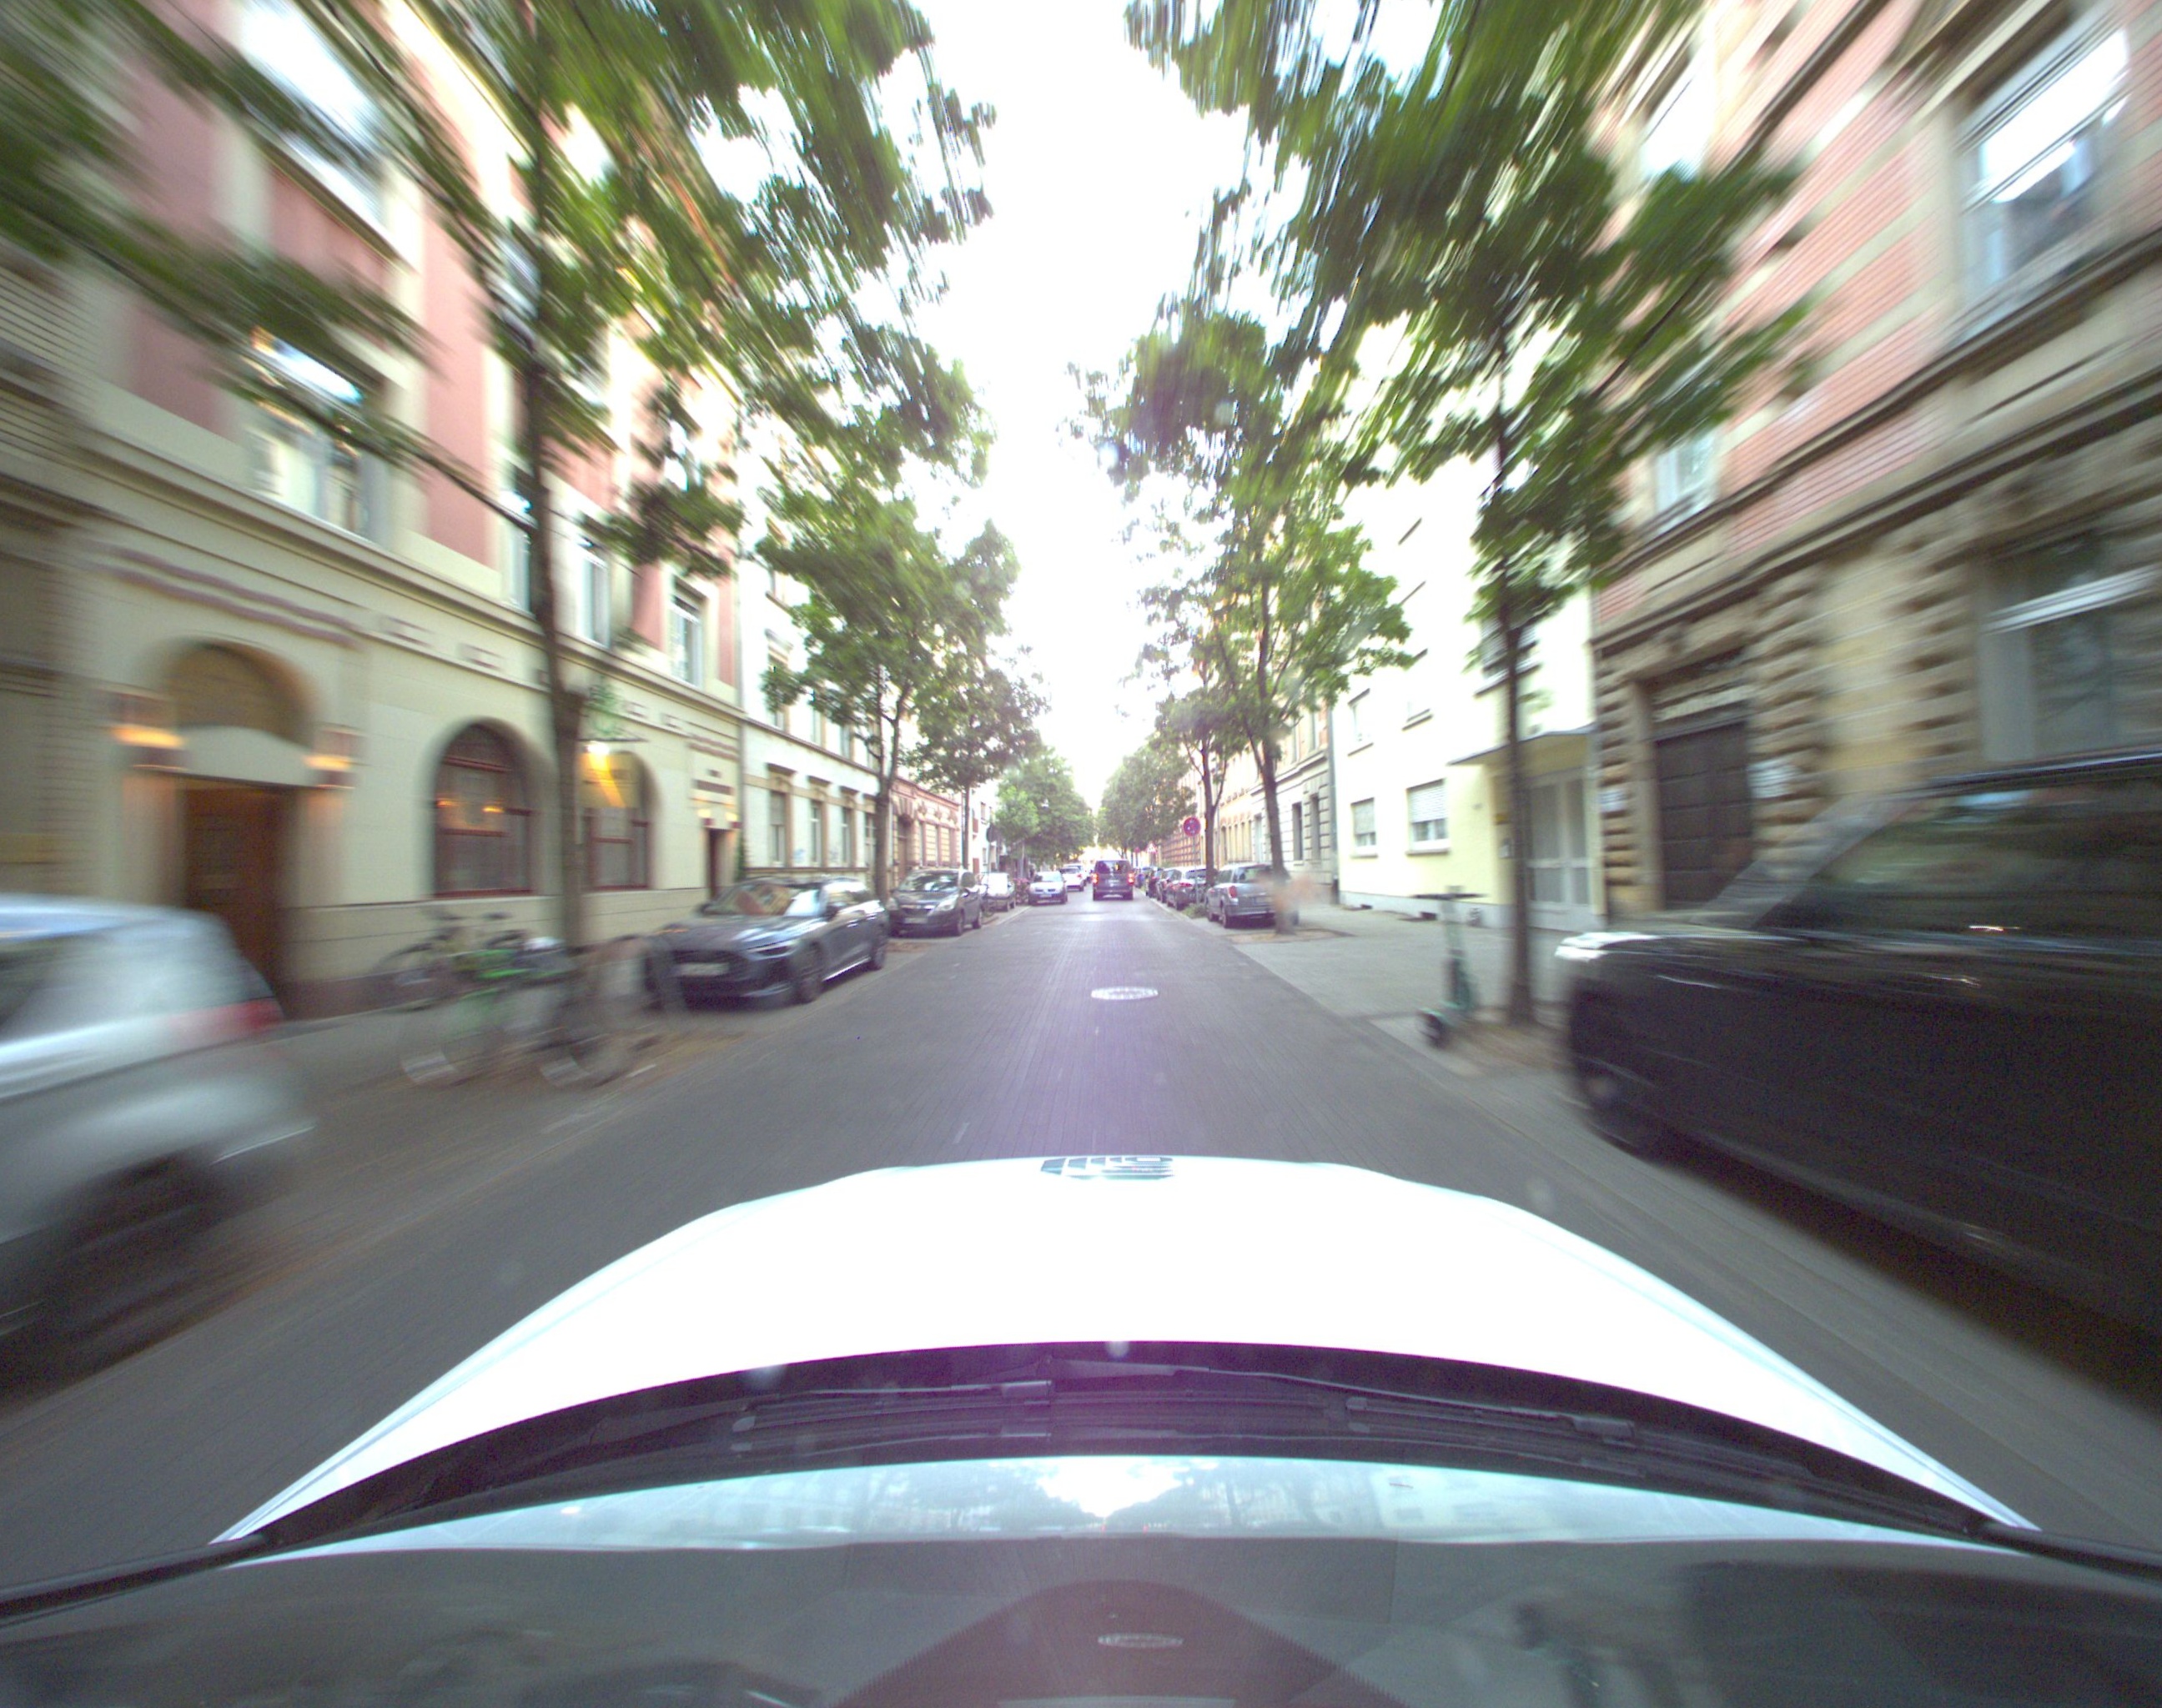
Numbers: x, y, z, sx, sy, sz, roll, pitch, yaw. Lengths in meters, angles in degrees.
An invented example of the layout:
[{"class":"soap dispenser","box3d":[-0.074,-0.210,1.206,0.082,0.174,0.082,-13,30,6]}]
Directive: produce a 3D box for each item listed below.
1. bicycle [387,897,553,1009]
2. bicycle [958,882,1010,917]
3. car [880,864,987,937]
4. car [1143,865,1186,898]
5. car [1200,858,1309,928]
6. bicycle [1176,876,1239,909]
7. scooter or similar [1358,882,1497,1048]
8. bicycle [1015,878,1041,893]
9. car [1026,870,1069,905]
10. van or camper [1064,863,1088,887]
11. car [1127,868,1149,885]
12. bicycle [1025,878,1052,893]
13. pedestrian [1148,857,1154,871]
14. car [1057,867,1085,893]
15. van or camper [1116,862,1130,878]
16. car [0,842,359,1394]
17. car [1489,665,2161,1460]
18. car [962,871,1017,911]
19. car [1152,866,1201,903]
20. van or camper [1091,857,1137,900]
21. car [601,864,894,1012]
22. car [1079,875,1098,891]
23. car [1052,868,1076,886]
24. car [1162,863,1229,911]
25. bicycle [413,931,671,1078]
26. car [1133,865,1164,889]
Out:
[{"class":"bicycle","box3d":[-7.032,1.090,9.488,0.524,1.097,1.795,-1,-1,2]},{"class":"bicycle","box3d":[-3.161,1.468,26.435,1.805,1.085,0.672,-3,-3,44]},{"class":"car","box3d":[-3.466,1.038,19.892,1.700,1.581,4.080,0,-1,2]},{"class":"car","box3d":[4.087,1.323,40.393,1.760,1.415,4.475,-4,-1,2]},{"class":"car","box3d":[4.101,0.884,19.933,1.752,1.463,4.308,-2,-1,1]},{"class":"bicycle","box3d":[4.067,1.233,26.221,1.922,0.982,0.634,-1,-1,-21]},{"class":"scooter or similar","box3d":[2.888,0.866,6.749,0.667,1.190,1.123,-6,-3,41]},{"class":"bicycle","box3d":[-3.443,2.018,52.541,1.669,0.898,0.380,0,-2,-29]},{"class":"car","box3d":[-1.417,1.426,35.659,1.574,1.420,3.753,-2,-1,1]},{"class":"van or camper","box3d":[-0.403,1.732,68.531,1.871,1.843,4.751,-2,-1,0]},{"class":"car","box3d":[5.006,1.968,72.080,1.688,1.401,4.646,-2,-1,1]},{"class":"bicycle","box3d":[-2.704,1.992,51.757,1.709,0.907,0.380,0,-2,-29]},{"class":"pedestrian","box3d":[8.568,1.256,99.988,0.624,1.648,0.532,-1,-2,2]},{"class":"car","box3d":[-0.677,1.680,53.266,1.659,1.563,3.997,-2,-1,-2]},{"class":"van or camper","box3d":[6.757,2.569,131.331,1.987,2.599,5.423,-1,-1,0]},{"class":"car","box3d":[-4.036,0.763,1.576,1.669,1.607,3.864,-1,-1,3]},{"class":"car","box3d":[3.476,0.440,2.518,2.006,1.833,4.812,-4,-1,1]},{"class":"car","box3d":[-3.384,1.348,30.626,1.581,1.437,3.566,0,-1,1]},{"class":"car","box3d":[4.037,1.276,34.735,1.630,1.424,3.564,-3,-1,0]},{"class":"van or camper","box3d":[1.616,1.135,38.585,2.027,1.898,4.274,-1,-1,3]},{"class":"car","box3d":[-3.968,0.909,10.718,1.799,1.518,4.686,0,-1,1]},{"class":"car","box3d":[0.772,2.914,82.857,1.824,1.517,4.516,-2,-2,1]},{"class":"car","box3d":[-1.589,2.161,78.054,1.986,1.647,4.923,0,-1,1]},{"class":"car","box3d":[4.003,1.125,29.126,1.711,1.476,4.367,-3,-1,0]},{"class":"bicycle","box3d":[-4.092,1.128,6.228,1.677,1.003,0.430,1,-1,3]},{"class":"car","box3d":[4.532,1.524,55.076,1.622,1.467,4.244,-2,-1,0]}]
